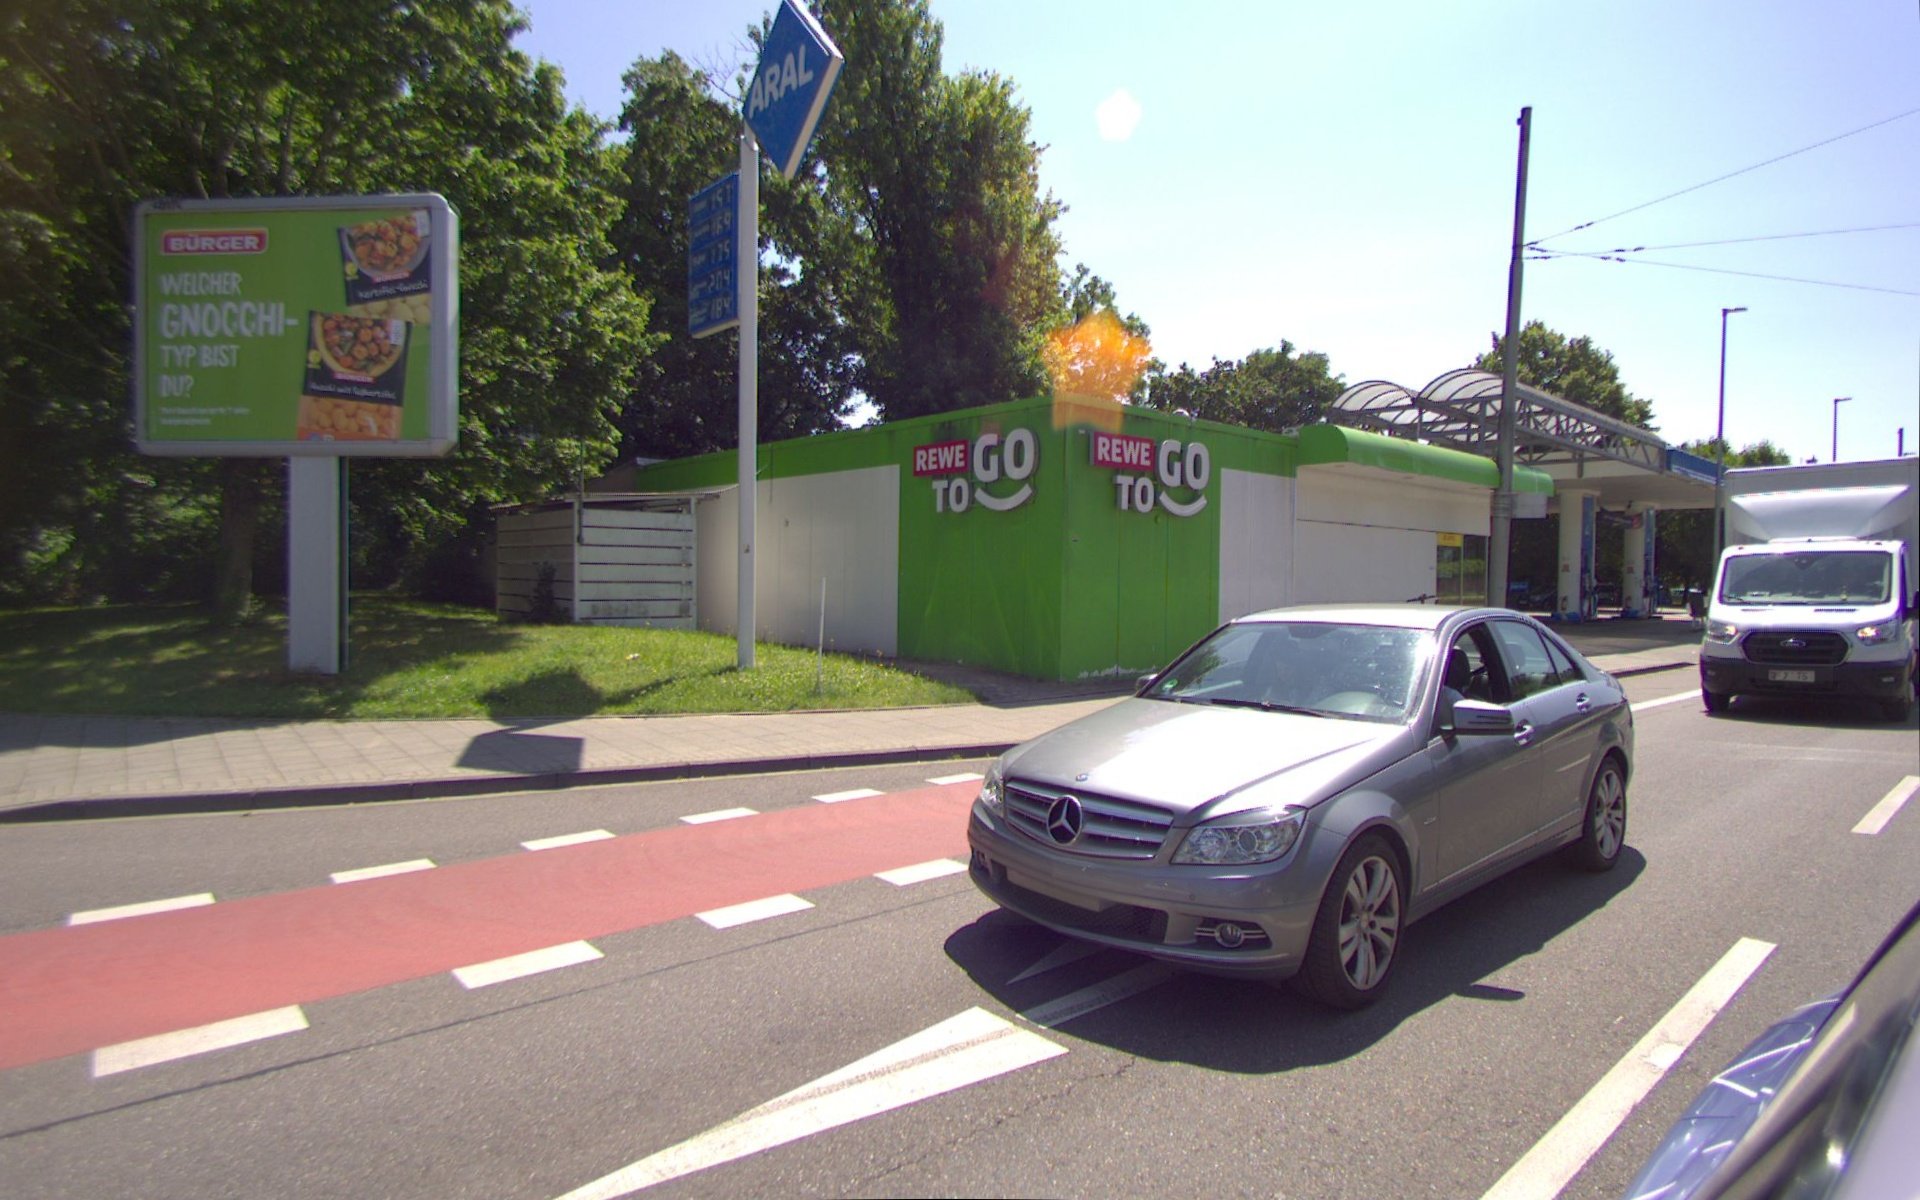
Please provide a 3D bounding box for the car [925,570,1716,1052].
[{"bbox_3d":[2.370,0.648,5.507,5.209,1.492,1.715,0,-1,-41],"label":"car"}]

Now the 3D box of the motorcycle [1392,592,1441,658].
[{"bbox_3d":[8.173,0.427,18.116,1.098,1.118,0.253,-1,8,-41],"label":"motorcycle"}]

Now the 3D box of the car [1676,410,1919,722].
[{"bbox_3d":[12.719,-0.430,14.686,8.493,3.377,2.225,-1,0,-44],"label":"car"}]

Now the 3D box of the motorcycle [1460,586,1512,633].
[{"bbox_3d":[14.499,0.248,27.905,0.357,1.225,1.156,1,2,-42],"label":"motorcycle"}]
